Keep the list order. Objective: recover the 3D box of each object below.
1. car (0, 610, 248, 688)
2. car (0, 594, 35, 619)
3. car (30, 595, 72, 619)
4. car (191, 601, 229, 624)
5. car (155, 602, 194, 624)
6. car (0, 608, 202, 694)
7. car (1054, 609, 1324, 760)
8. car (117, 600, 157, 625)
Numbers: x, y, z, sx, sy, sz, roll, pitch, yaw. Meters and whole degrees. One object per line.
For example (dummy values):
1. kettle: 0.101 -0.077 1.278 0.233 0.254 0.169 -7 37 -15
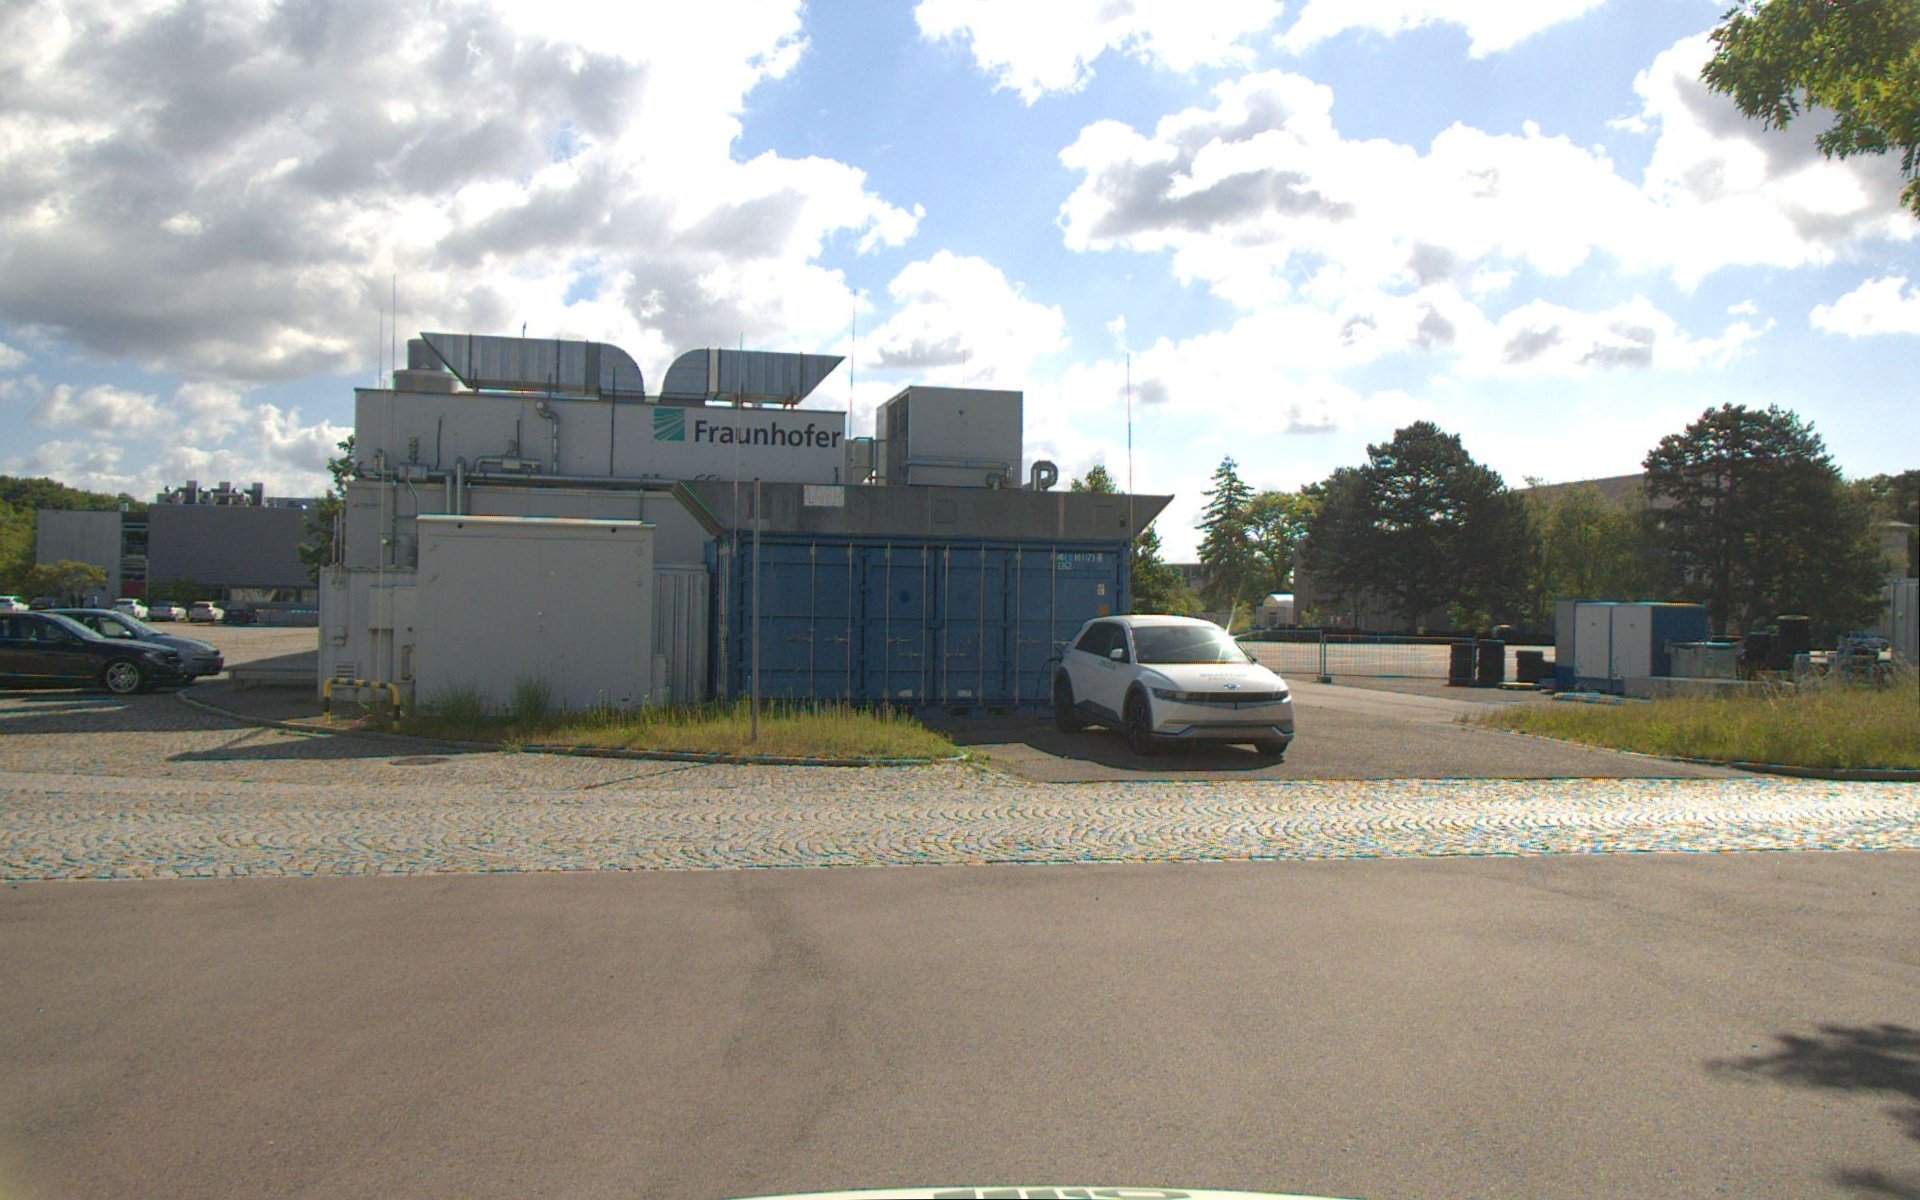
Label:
1. car: -16.564 0.969 32.457 4.452 1.468 1.897 1 -2 -14
2. car: -66.350 0.477 116.000 1.818 1.698 4.111 -1 0 -18
3. car: -63.985 0.503 116.480 1.848 1.564 4.014 -1 0 -18
4. car: -54.080 0.894 119.319 1.847 1.564 4.018 -1 0 -16
5. car: -56.247 0.930 118.540 1.847 1.564 4.018 -1 0 -16
6. car: -16.039 0.905 29.242 4.452 1.468 1.980 1 -2 -14
7. car: 2.767 0.993 21.072 1.947 1.621 4.325 1 1 -14
8. car: -58.729 0.896 118.064 1.847 1.719 4.018 -1 0 -16
